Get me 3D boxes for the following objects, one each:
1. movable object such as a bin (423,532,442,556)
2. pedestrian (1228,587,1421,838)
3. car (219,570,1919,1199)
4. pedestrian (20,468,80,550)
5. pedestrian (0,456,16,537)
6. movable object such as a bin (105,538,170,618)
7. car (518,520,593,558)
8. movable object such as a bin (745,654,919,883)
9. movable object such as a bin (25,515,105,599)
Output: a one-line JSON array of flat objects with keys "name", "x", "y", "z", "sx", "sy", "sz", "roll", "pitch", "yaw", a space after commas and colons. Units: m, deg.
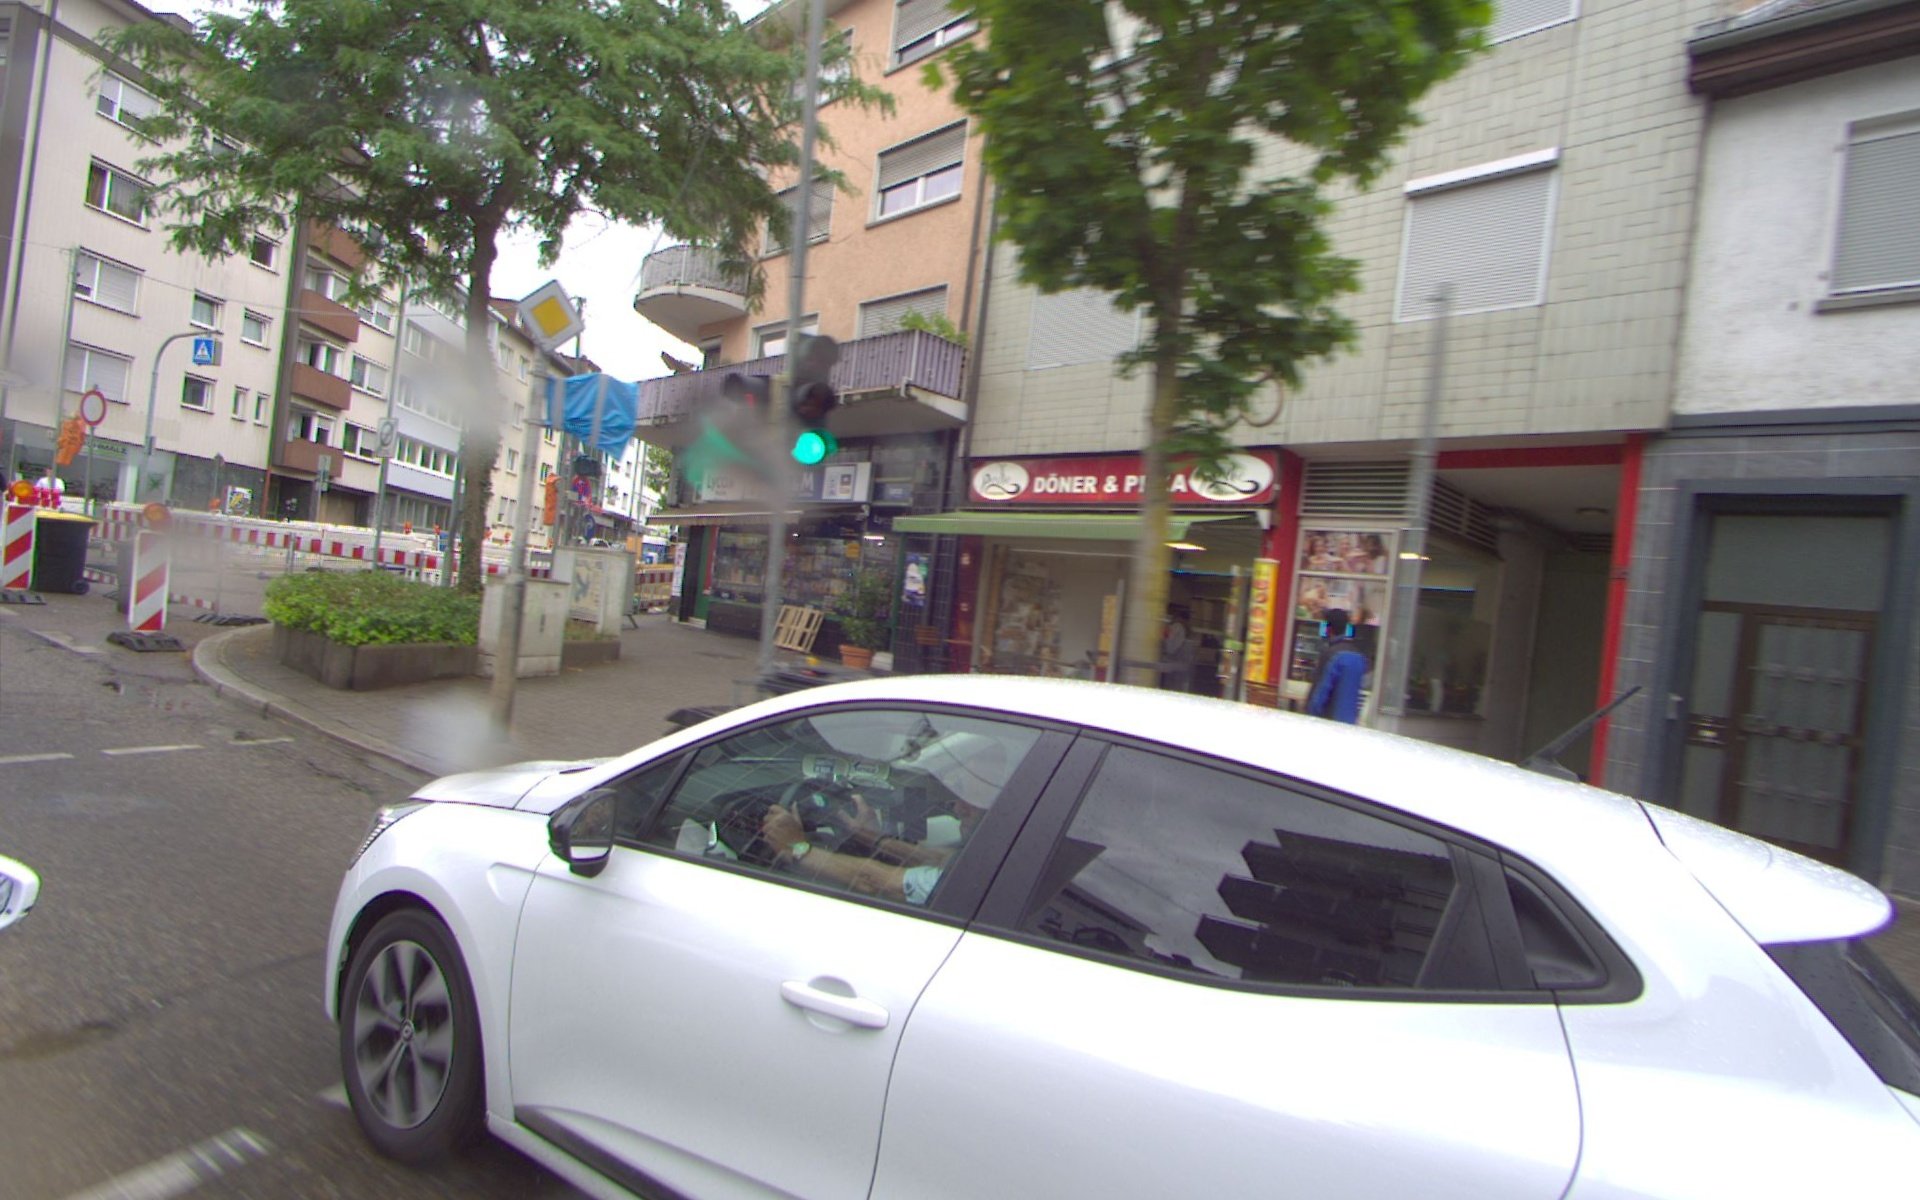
[{"name": "movable object such as a bin", "x": -25.688, "y": -2.739, "z": 49.014, "sx": 0.521, "sy": 1.059, "sz": 0.539, "roll": 7, "pitch": -2, "yaw": -1}, {"name": "pedestrian", "x": 2.871, "y": 0.852, "z": 7.973, "sx": 0.959, "sy": 1.816, "sz": 0.899, "roll": 4, "pitch": 2, "yaw": -30}, {"name": "car", "x": -0.058, "y": 0.844, "z": 2.562, "sx": 3.936, "sy": 1.421, "sz": 1.676, "roll": 7, "pitch": 1, "yaw": 34}, {"name": "pedestrian", "x": -22.529, "y": -2.234, "z": 24.924, "sx": 0.647, "sy": 1.903, "sz": 0.990, "roll": 4, "pitch": 1, "yaw": -15}, {"name": "pedestrian", "x": -23.183, "y": -2.497, "z": 23.672, "sx": 1.014, "sy": 1.885, "sz": 0.917, "roll": 4, "pitch": 1, "yaw": -12}, {"name": "movable object such as a bin", "x": -10.411, "y": -0.276, "z": 12.740, "sx": 0.522, "sy": 0.942, "sz": 0.420, "roll": 8, "pitch": 3, "yaw": 29}, {"name": "car", "x": -23.282, "y": -3.492, "z": 58.129, "sx": 1.962, "sy": 1.743, "sz": 4.796, "roll": 6, "pitch": 1, "yaw": 5}, {"name": "movable object such as a bin", "x": -0.730, "y": 0.918, "z": 5.742, "sx": 0.655, "sy": 1.126, "sz": 0.577, "roll": 9, "pitch": 3, "yaw": 35}, {"name": "movable object such as a bin", "x": -12.218, "y": -0.582, "z": 13.740, "sx": 0.522, "sy": 1.045, "sz": 0.621, "roll": 8, "pitch": 3, "yaw": 29}]
